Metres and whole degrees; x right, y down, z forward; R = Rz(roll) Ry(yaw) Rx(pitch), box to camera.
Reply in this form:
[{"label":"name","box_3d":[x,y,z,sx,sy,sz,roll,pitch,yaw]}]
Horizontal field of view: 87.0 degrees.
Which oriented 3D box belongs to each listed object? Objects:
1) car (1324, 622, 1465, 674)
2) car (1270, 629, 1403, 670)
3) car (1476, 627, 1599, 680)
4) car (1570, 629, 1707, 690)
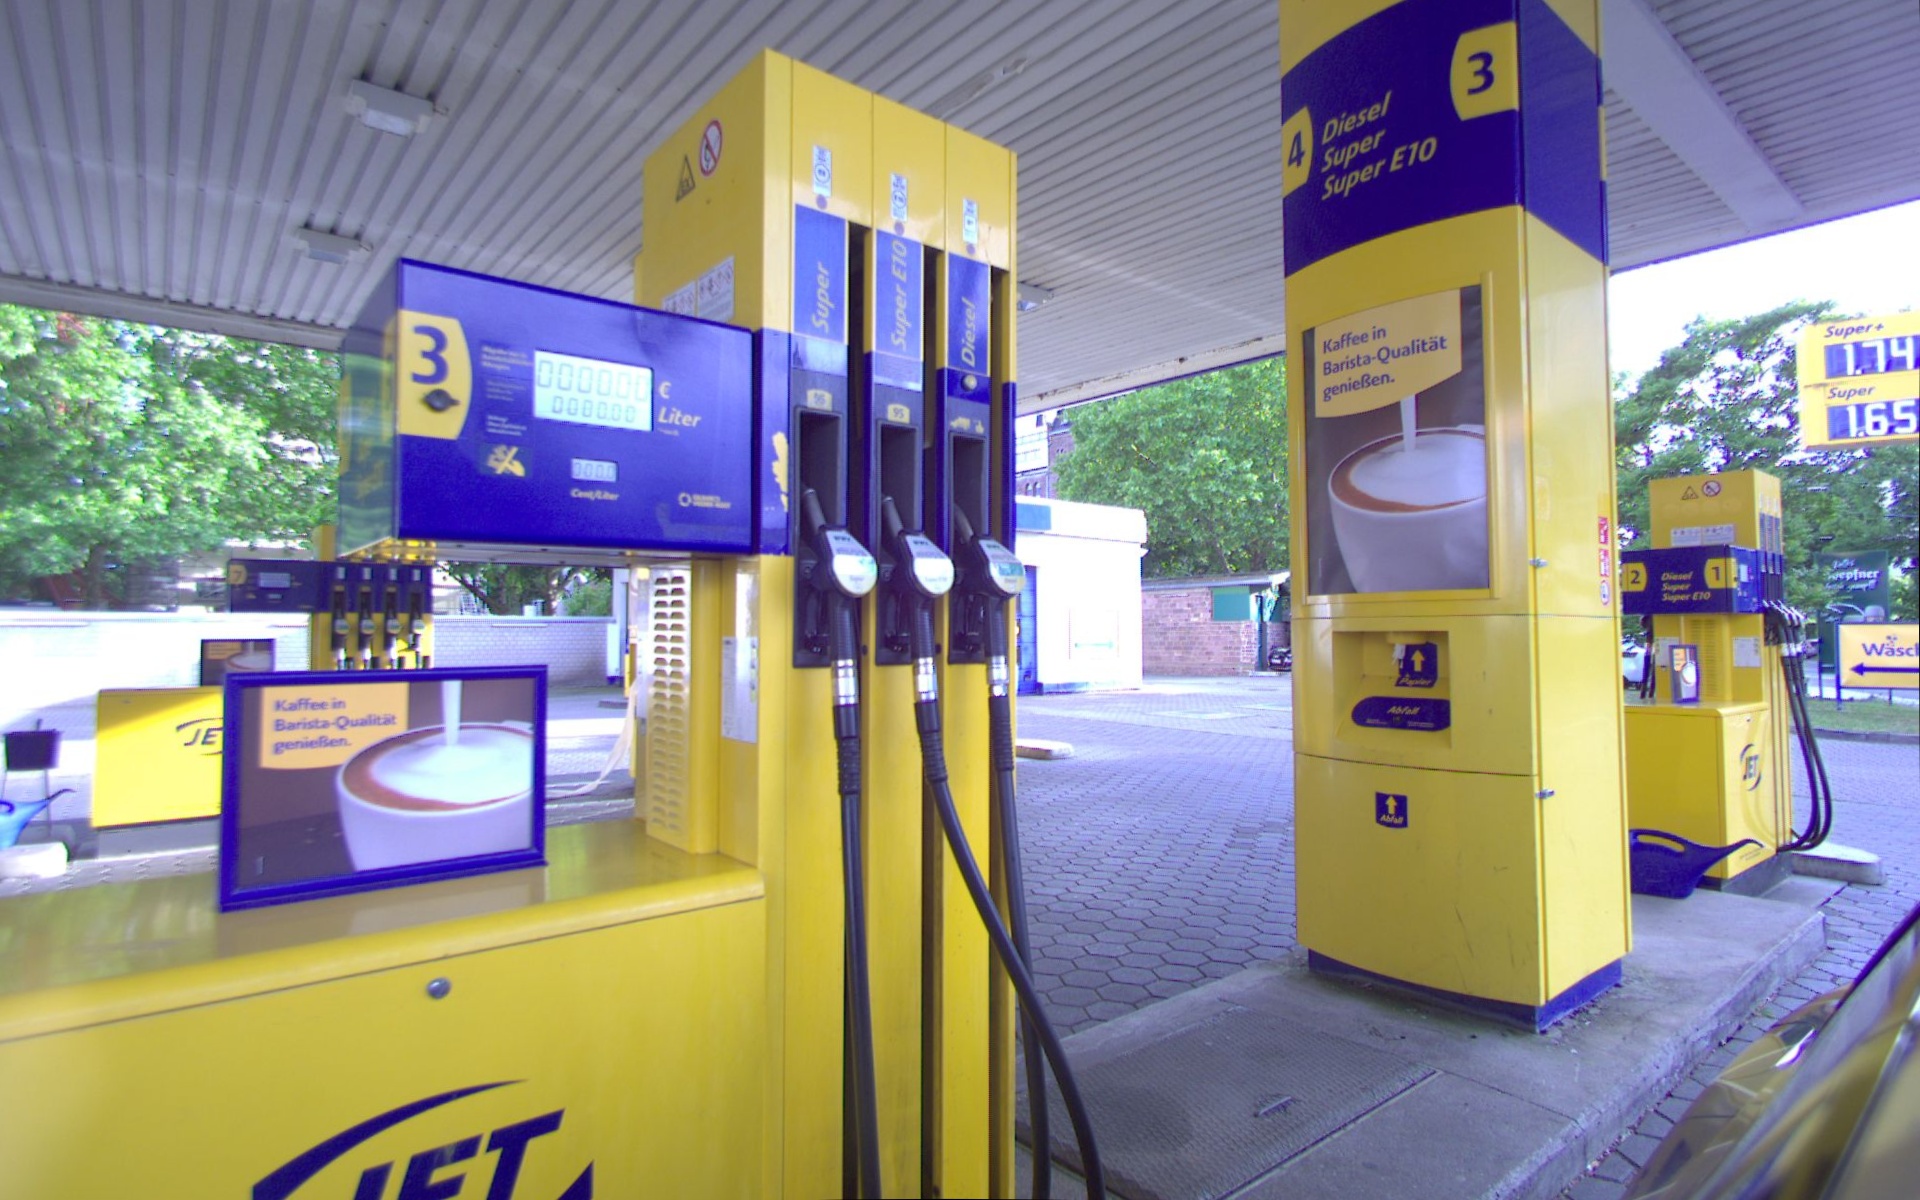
[{"label":"car","box_3d":[13.794,1.542,32.143,4.134,1.544,1.791,2,-3,-24]},{"label":"car","box_3d":[12.835,1.693,34.492,4.134,1.294,1.751,2,-3,-22]},{"label":"car","box_3d":[17.561,1.635,30.744,3.923,1.529,1.740,3,-3,-35]},{"label":"car","box_3d":[18.226,1.557,27.156,3.923,1.529,1.740,2,-3,-35]}]
